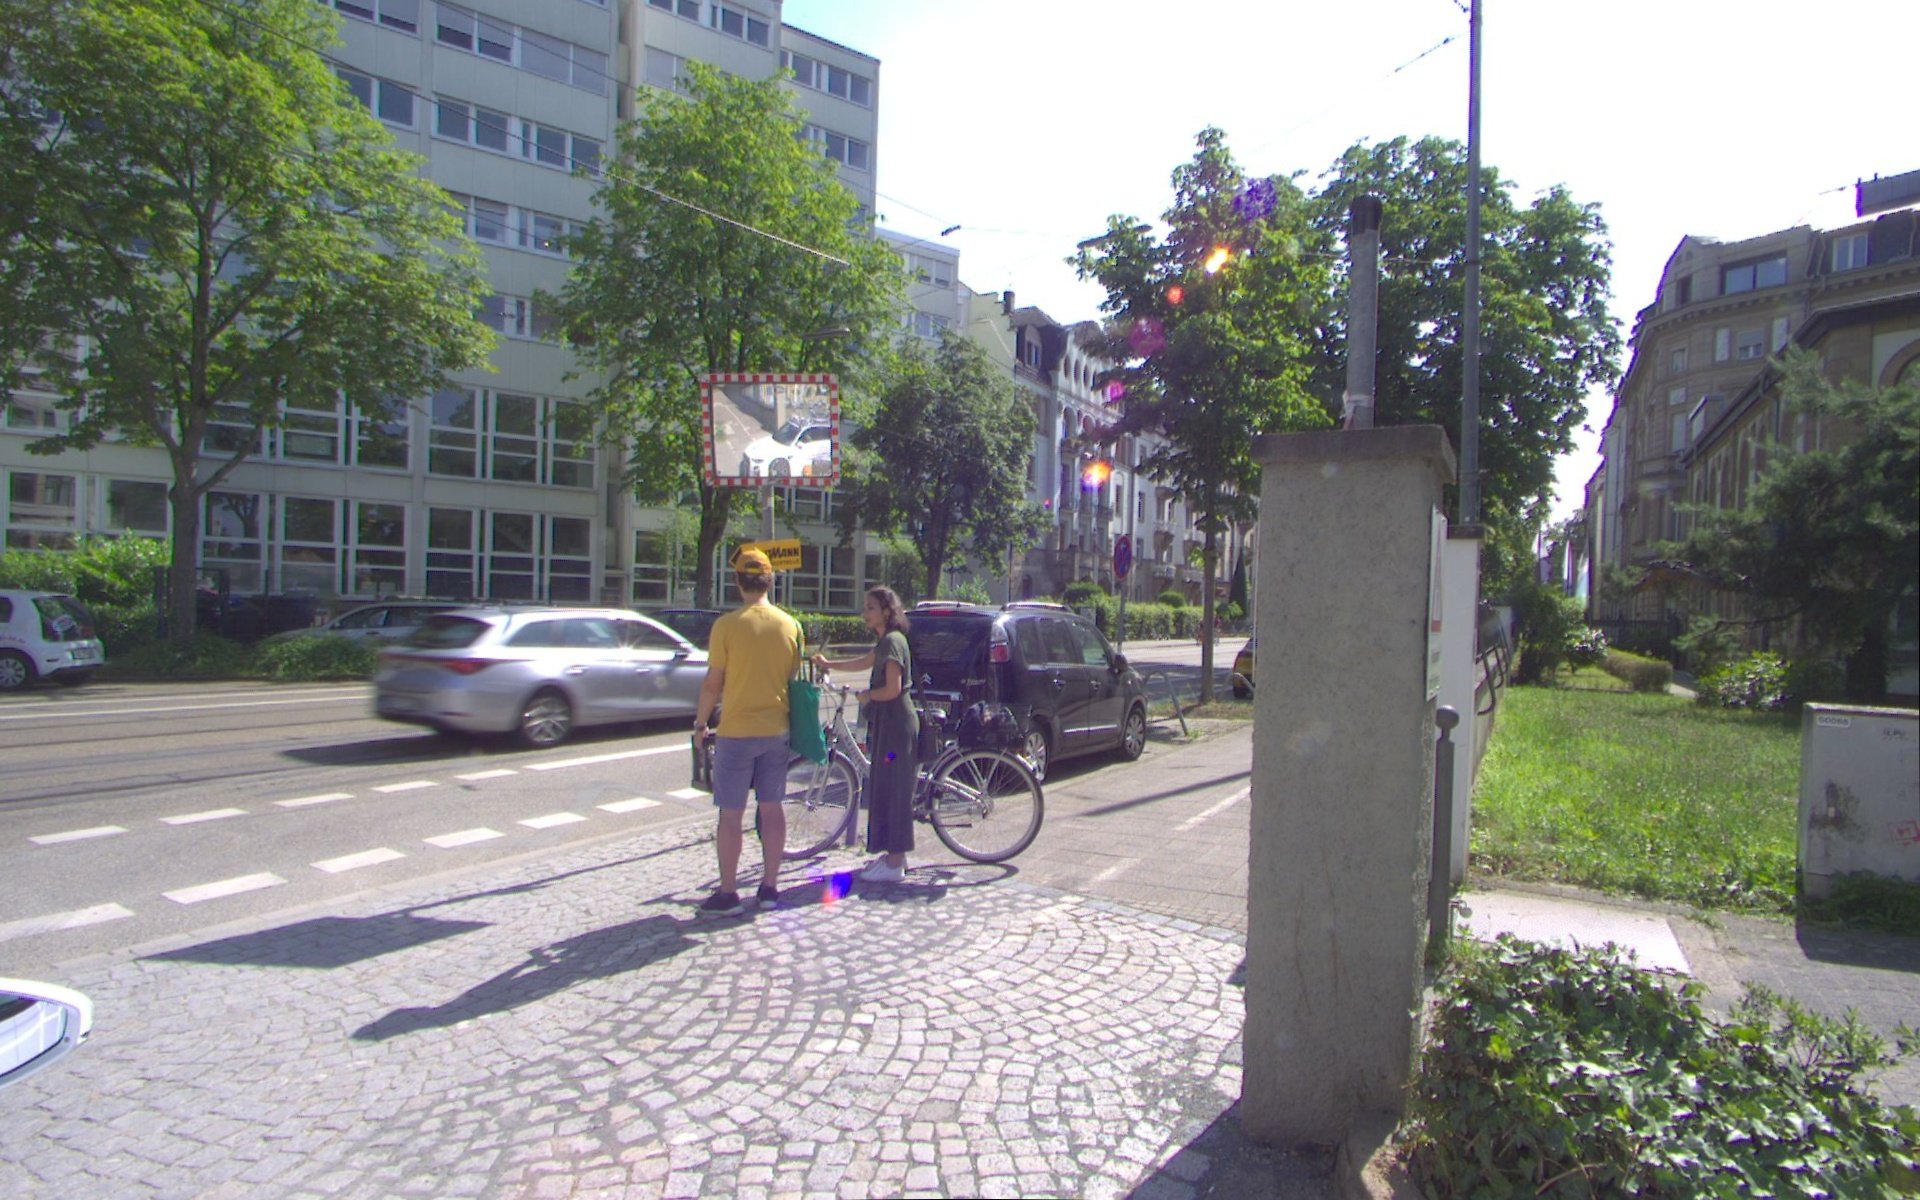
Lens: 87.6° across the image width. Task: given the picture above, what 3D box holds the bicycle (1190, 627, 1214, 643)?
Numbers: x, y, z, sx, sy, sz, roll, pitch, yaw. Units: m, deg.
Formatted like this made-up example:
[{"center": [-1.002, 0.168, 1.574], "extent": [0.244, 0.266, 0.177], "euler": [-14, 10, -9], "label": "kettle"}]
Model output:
[{"center": [14.367, 2.090, 59.508], "extent": [0.670, 0.929, 2.309], "euler": [1, -1, 32], "label": "bicycle"}]

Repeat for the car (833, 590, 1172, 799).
[{"center": [0.648, 0.829, 10.442], "extent": [1.829, 1.706, 3.981], "euler": [1, -1, 31], "label": "car"}]

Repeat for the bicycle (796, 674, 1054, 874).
[{"center": [-0.209, 1.018, 6.045], "extent": [1.484, 1.055, 0.363], "euler": [2, 0, 12], "label": "bicycle"}]

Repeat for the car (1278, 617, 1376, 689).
[{"center": [9.745, 1.345, 26.423], "extent": [1.828, 1.702, 3.984], "euler": [1, -1, 28], "label": "car"}]

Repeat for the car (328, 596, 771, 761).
[{"center": [-4.412, 0.766, 11.588], "extent": [1.863, 1.426, 4.575], "euler": [3, 0, 29], "label": "car"}]

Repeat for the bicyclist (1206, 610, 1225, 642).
[{"center": [14.954, 1.510, 58.530], "extent": [0.793, 1.825, 0.860], "euler": [2, 0, 33], "label": "bicyclist"}]

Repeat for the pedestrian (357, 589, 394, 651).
[{"center": [-14.186, 0.477, 24.293], "extent": [0.417, 1.480, 0.620], "euler": [2, 0, 27], "label": "pedestrian"}]

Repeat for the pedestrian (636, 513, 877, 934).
[{"center": [-1.033, 0.562, 5.085], "extent": [0.821, 1.889, 0.846], "euler": [1, 0, 44], "label": "pedestrian"}]

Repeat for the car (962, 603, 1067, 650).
[{"center": [2.312, 1.120, 42.539], "extent": [3.935, 1.884, 1.993], "euler": [2, 0, -23], "label": "car"}]

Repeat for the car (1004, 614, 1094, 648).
[{"center": [4.353, 1.535, 49.197], "extent": [3.929, 1.528, 1.997], "euler": [2, -1, -16], "label": "car"}]

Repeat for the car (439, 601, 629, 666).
[{"center": [-9.873, 0.783, 23.489], "extent": [3.875, 1.375, 1.556], "euler": [2, 0, -16], "label": "car"}]

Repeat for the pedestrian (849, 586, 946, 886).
[{"center": [-0.352, 0.754, 5.746], "extent": [0.445, 1.642, 0.422], "euler": [-1, -1, 12], "label": "pedestrian"}]

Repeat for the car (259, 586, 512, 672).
[{"center": [-11.713, 0.628, 20.743], "extent": [4.270, 1.625, 1.555], "euler": [2, -1, -19], "label": "car"}]

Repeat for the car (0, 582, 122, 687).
[{"center": [-15.165, 0.483, 14.843], "extent": [3.874, 1.505, 1.610], "euler": [1, 0, -15], "label": "car"}]

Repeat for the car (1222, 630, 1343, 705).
[{"center": [7.181, 1.402, 22.046], "extent": [1.828, 1.430, 3.984], "euler": [1, -1, 28], "label": "car"}]

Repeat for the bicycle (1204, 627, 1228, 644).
[{"center": [15.020, 2.078, 58.609], "extent": [0.670, 0.929, 2.309], "euler": [2, -1, 32], "label": "bicycle"}]

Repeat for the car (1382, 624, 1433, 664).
[{"center": [20.867, 2.017, 46.617], "extent": [1.828, 1.702, 3.984], "euler": [1, -1, 28], "label": "car"}]

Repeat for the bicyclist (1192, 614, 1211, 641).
[{"center": [14.293, 1.642, 59.316], "extent": [0.793, 1.563, 0.860], "euler": [2, 0, 33], "label": "bicyclist"}]

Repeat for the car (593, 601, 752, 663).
[{"center": [-7.536, 0.840, 26.447], "extent": [3.875, 1.505, 1.556], "euler": [2, 0, -16], "label": "car"}]
